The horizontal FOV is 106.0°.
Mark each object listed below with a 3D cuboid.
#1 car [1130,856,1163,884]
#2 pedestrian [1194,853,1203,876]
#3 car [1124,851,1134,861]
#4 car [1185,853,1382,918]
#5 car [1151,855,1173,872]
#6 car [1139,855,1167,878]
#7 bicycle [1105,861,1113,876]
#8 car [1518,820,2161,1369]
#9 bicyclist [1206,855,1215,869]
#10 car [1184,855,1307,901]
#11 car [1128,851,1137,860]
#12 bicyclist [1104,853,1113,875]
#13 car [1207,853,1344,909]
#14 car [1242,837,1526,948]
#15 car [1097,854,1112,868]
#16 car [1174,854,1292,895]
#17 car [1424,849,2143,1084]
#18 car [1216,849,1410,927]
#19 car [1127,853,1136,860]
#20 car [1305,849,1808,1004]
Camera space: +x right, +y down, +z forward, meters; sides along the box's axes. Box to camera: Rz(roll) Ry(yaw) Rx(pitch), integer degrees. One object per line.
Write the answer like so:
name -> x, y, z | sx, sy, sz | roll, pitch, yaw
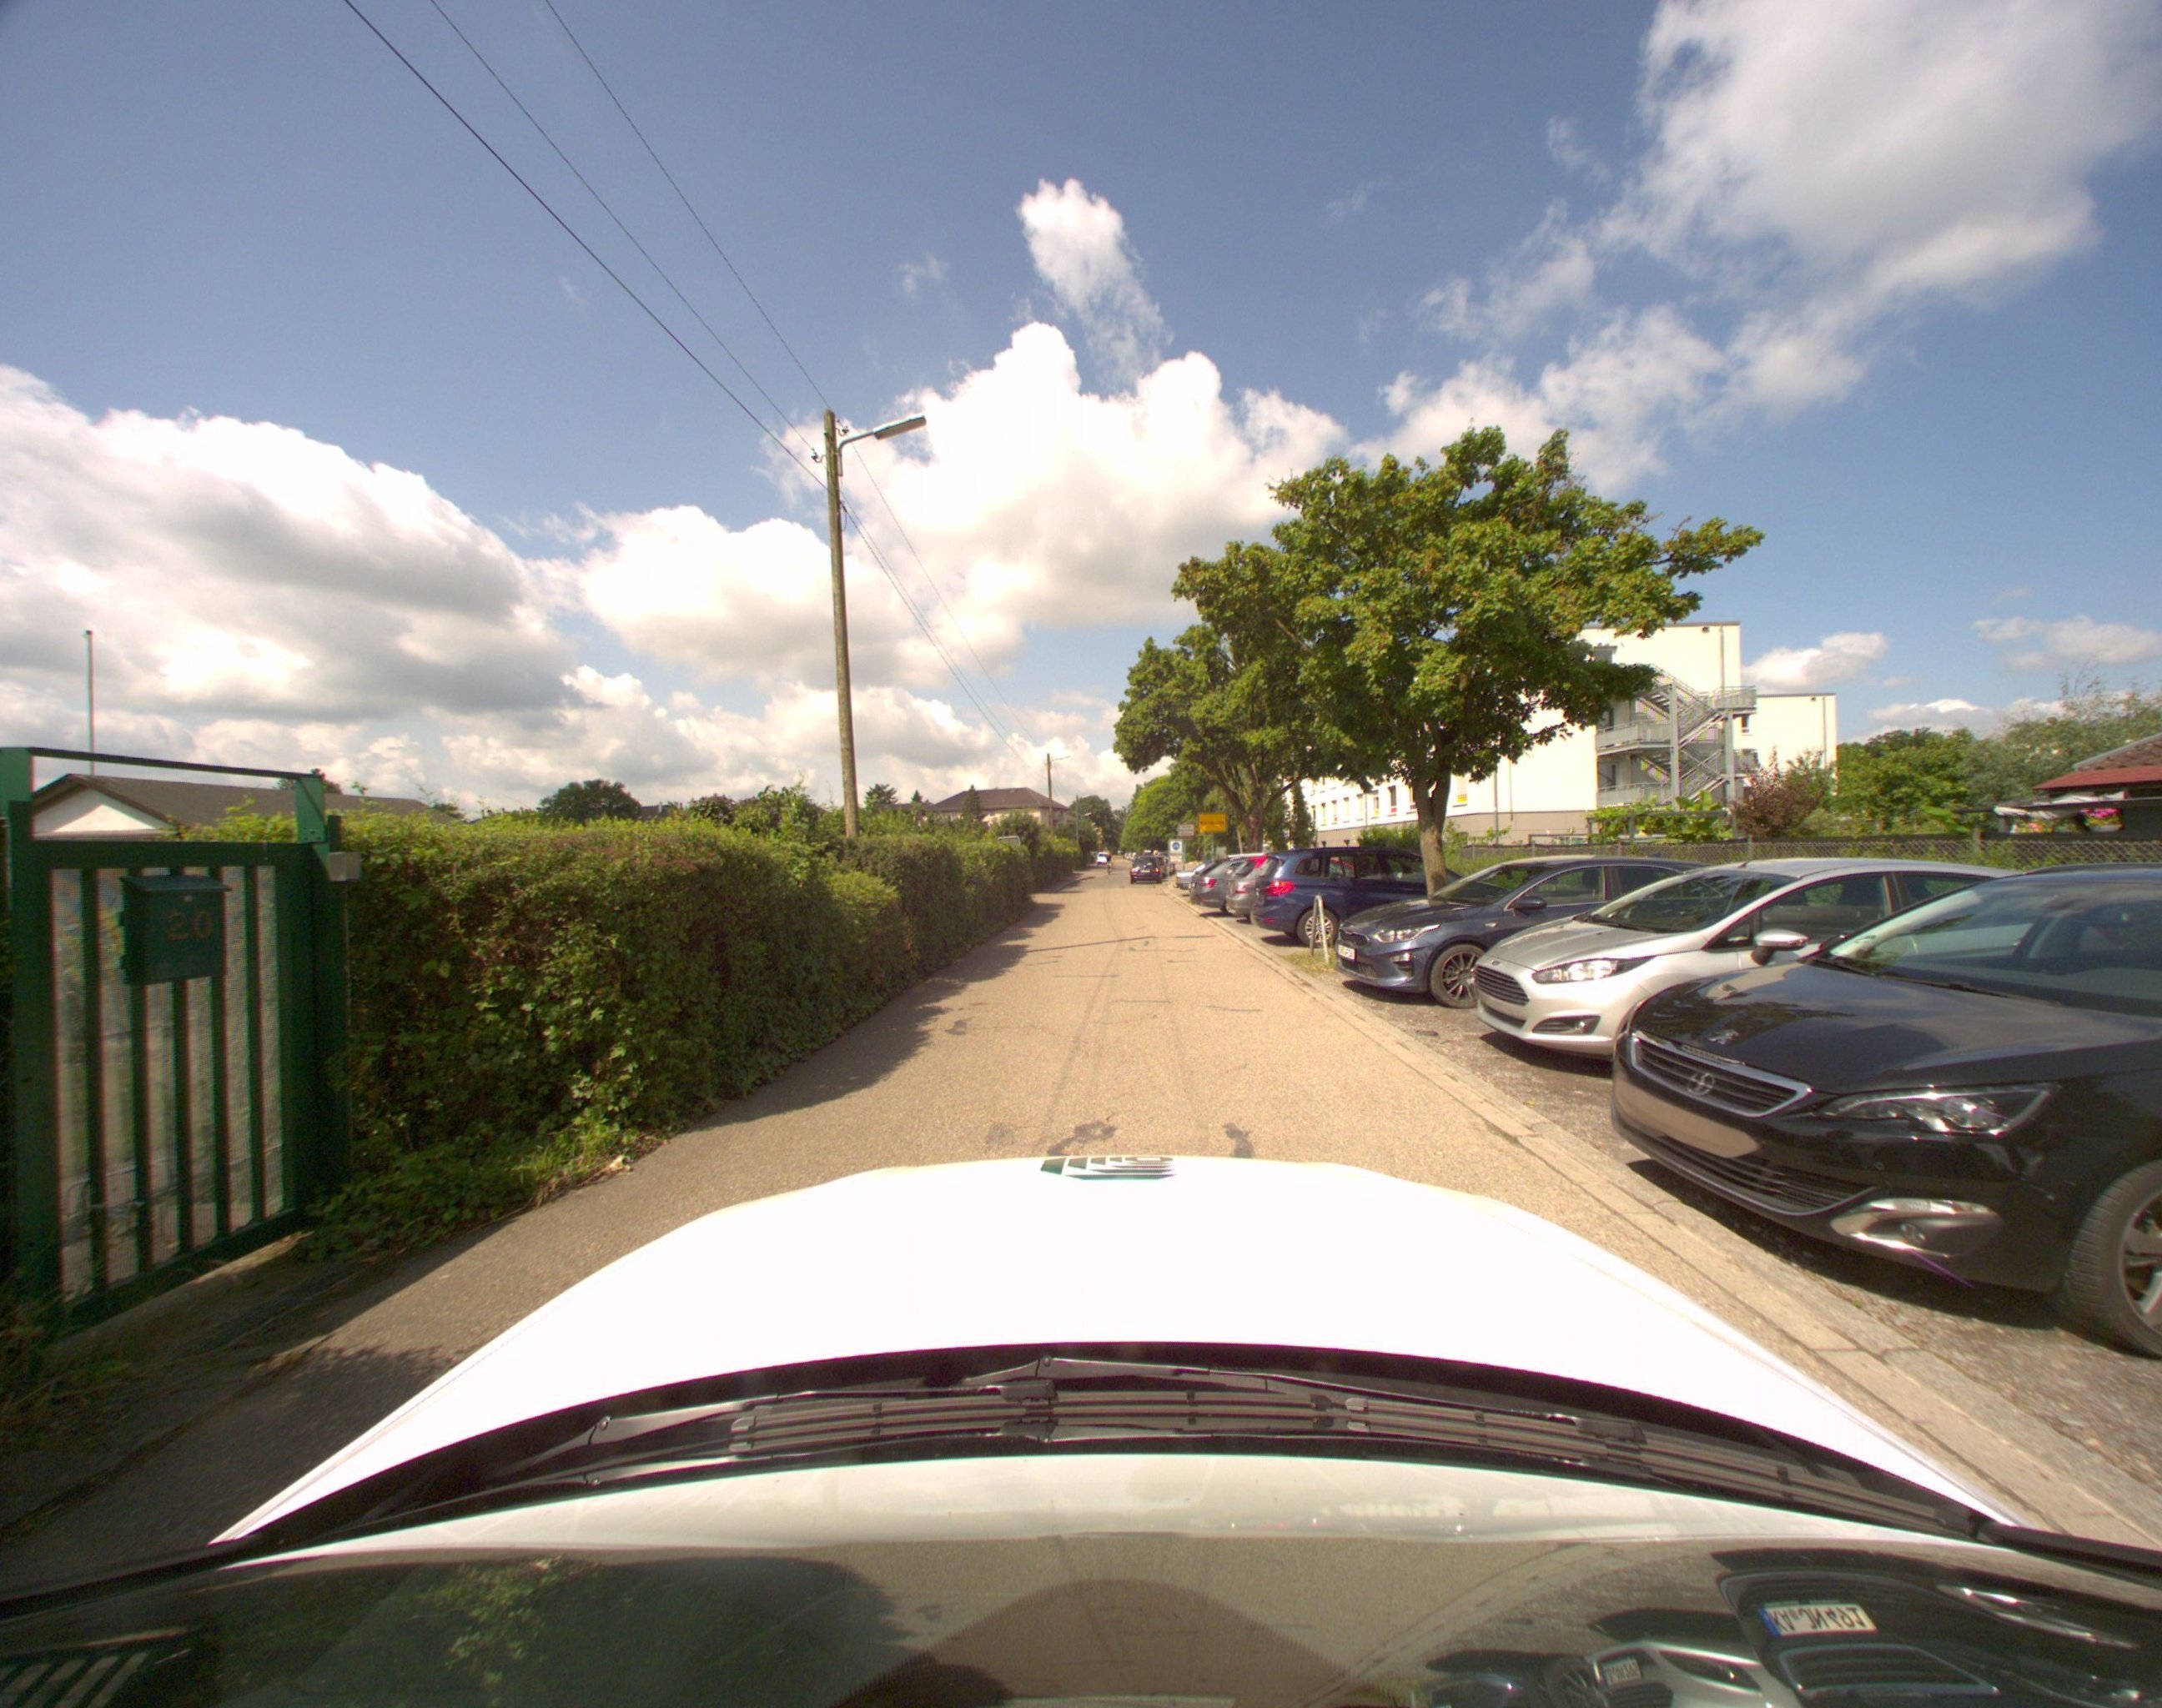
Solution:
car -> 3.701, 0.852, 45.420 | 1.654, 1.506, 4.008 | 0, 0, 7
pedestrian -> 8.646, 0.767, 59.928 | 0.605, 1.745, 0.725 | 0, -1, 16
car -> 9.639, 0.418, 163.351 | 2.048, 1.961, 4.547 | 0, 0, 5
car -> 4.992, 0.760, 20.496 | 4.533, 1.578, 1.809 | 0, 0, 0
car -> 6.715, 0.779, 67.451 | 1.656, 1.435, 3.545 | 0, 0, 3
car -> 5.038, 0.873, 56.386 | 1.653, 1.552, 3.647 | 0, 0, 9
bicycle -> 2.366, 1.219, 69.056 | 0.515, 1.150, 1.829 | -3, 0, 5
car -> 4.463, 0.702, 3.348 | 4.286, 1.594, 2.001 | 0, 0, 1
bicyclist -> 16.094, 0.959, 101.112 | 0.777, 1.785, 0.900 | 0, -1, 34
car -> 5.669, 0.814, 28.391 | 3.920, 1.559, 1.868 | 0, 0, 0
car -> 12.275, 0.392, 193.123 | 1.986, 2.014, 4.002 | 0, 0, 2
bicyclist -> 2.345, 0.834, 68.995 | 0.655, 1.852, 1.044 | -3, -1, 4
car -> 5.539, 0.756, 23.470 | 3.563, 1.549, 1.666 | 0, 0, -1
car -> 4.962, 0.623, 13.829 | 4.137, 1.637, 1.880 | -2, -1, 3
car -> 3.332, 0.969, 113.880 | 1.894, 1.814, 4.005 | 0, 0, 5
car -> 5.814, 0.783, 31.499 | 4.336, 1.392, 1.721 | -2, -1, 6
car -> 4.880, 0.720, 6.162 | 3.799, 1.492, 1.903 | 0, 0, 1
car -> 5.043, 0.722, 18.083 | 3.795, 1.532, 1.763 | -2, -1, 2
car -> 12.890, 0.637, 208.015 | 1.842, 1.618, 4.008 | 0, 0, 7
car -> 4.848, 0.700, 8.847 | 4.319, 1.492, 1.976 | 0, 0, 1
